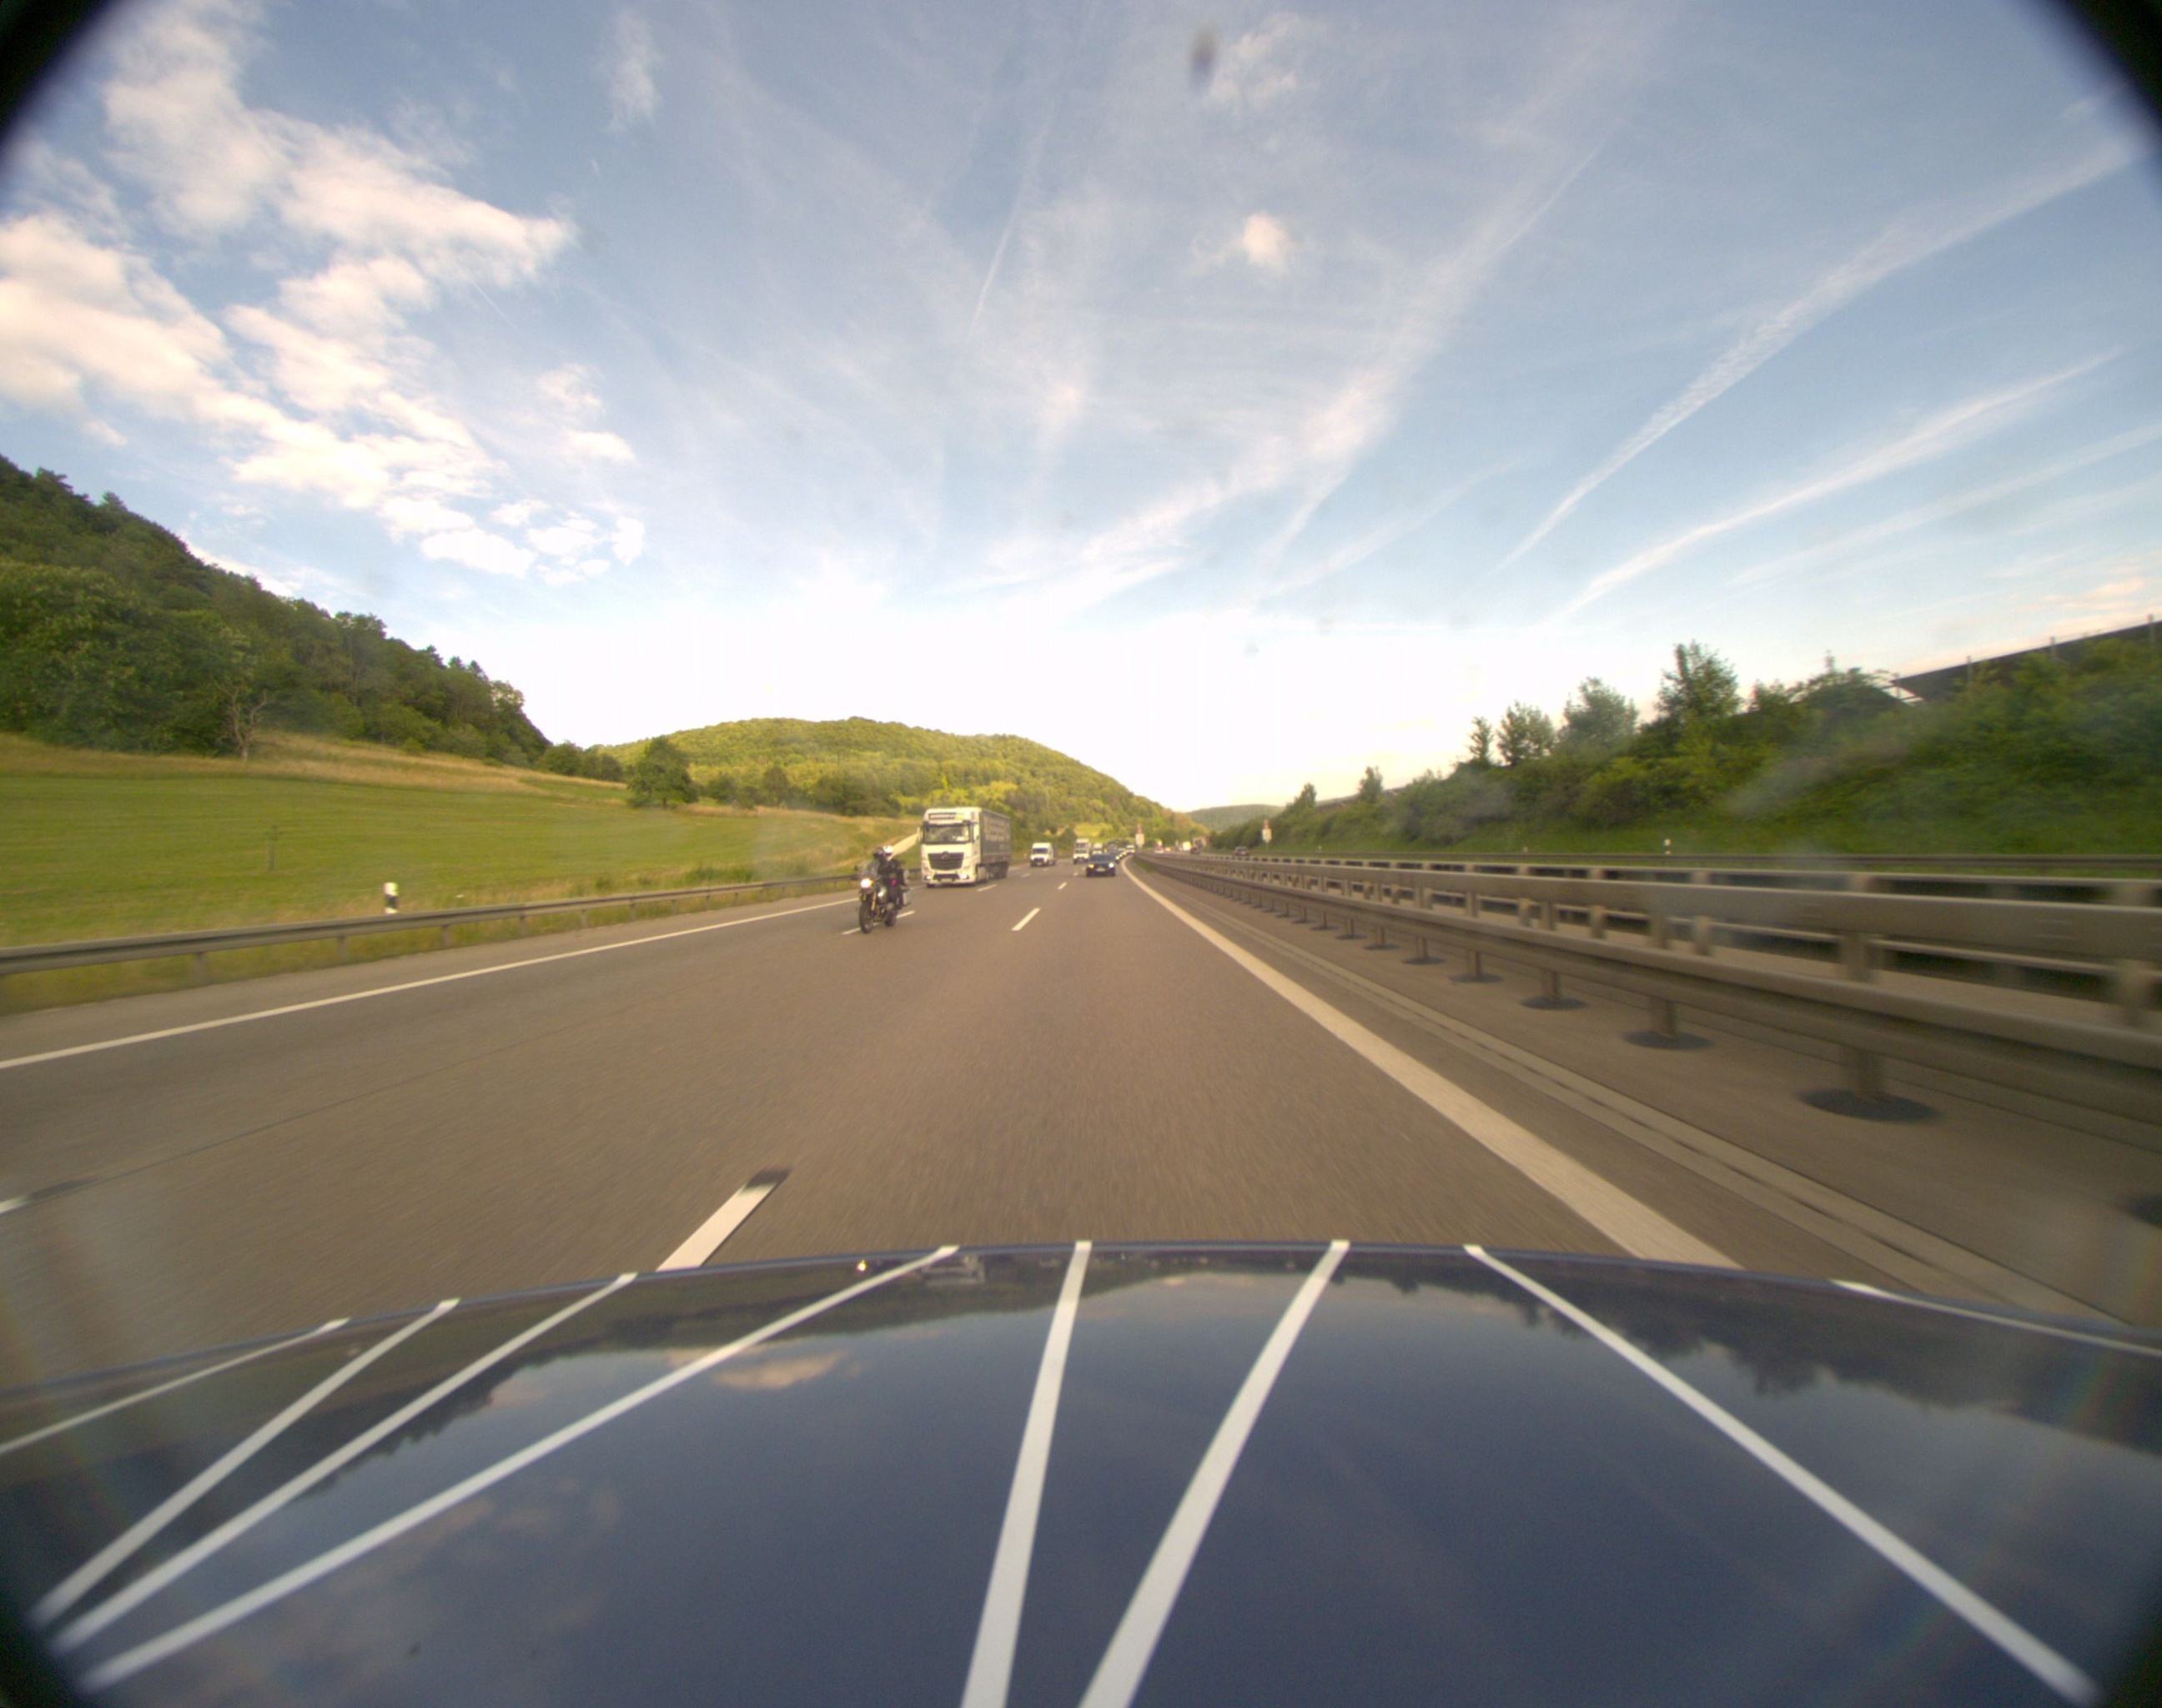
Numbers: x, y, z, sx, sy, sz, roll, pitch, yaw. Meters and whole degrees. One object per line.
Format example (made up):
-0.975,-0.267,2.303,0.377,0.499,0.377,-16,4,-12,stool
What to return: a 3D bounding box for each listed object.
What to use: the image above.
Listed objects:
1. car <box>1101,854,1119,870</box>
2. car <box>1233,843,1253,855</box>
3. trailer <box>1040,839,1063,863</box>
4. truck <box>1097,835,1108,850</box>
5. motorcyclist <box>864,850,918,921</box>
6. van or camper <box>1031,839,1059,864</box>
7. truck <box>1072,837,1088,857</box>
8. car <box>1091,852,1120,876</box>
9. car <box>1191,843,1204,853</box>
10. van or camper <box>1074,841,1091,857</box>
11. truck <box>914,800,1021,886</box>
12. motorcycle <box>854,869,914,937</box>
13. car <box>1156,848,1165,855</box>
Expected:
3.460,0.928,90.426,1.999,1.871,4.000,-1,0,0,car
19.977,-0.615,93.825,1.710,1.407,4.000,-2,1,1,car
-3.465,-0.323,89.921,1.998,2.710,5.251,-2,0,5,trailer
5.522,-2.939,196.273,2.708,3.627,9.034,-2,1,2,truck
-4.251,0.693,17.070,0.878,1.506,0.798,-2,1,7,motorcyclist
-3.963,-0.296,84.358,1.998,2.701,7.525,-2,0,5,van or camper
-0.127,-1.526,157.793,2.925,3.876,13.009,-2,1,1,truck
1.572,0.599,47.395,1.580,1.310,4.001,-2,1,4,car
24.521,-1.362,159.992,1.967,2.028,5.019,-2,1,2,car
0.209,-0.628,95.115,1.998,1.881,4.486,-2,1,0,van or camper
-6.069,-0.623,44.701,2.971,3.969,17.732,-2,1,2,truck
-4.197,1.016,16.332,0.628,1.331,1.739,-1,1,6,motorcycle
18.332,-0.523,174.952,1.837,1.582,5.019,-2,1,3,car
